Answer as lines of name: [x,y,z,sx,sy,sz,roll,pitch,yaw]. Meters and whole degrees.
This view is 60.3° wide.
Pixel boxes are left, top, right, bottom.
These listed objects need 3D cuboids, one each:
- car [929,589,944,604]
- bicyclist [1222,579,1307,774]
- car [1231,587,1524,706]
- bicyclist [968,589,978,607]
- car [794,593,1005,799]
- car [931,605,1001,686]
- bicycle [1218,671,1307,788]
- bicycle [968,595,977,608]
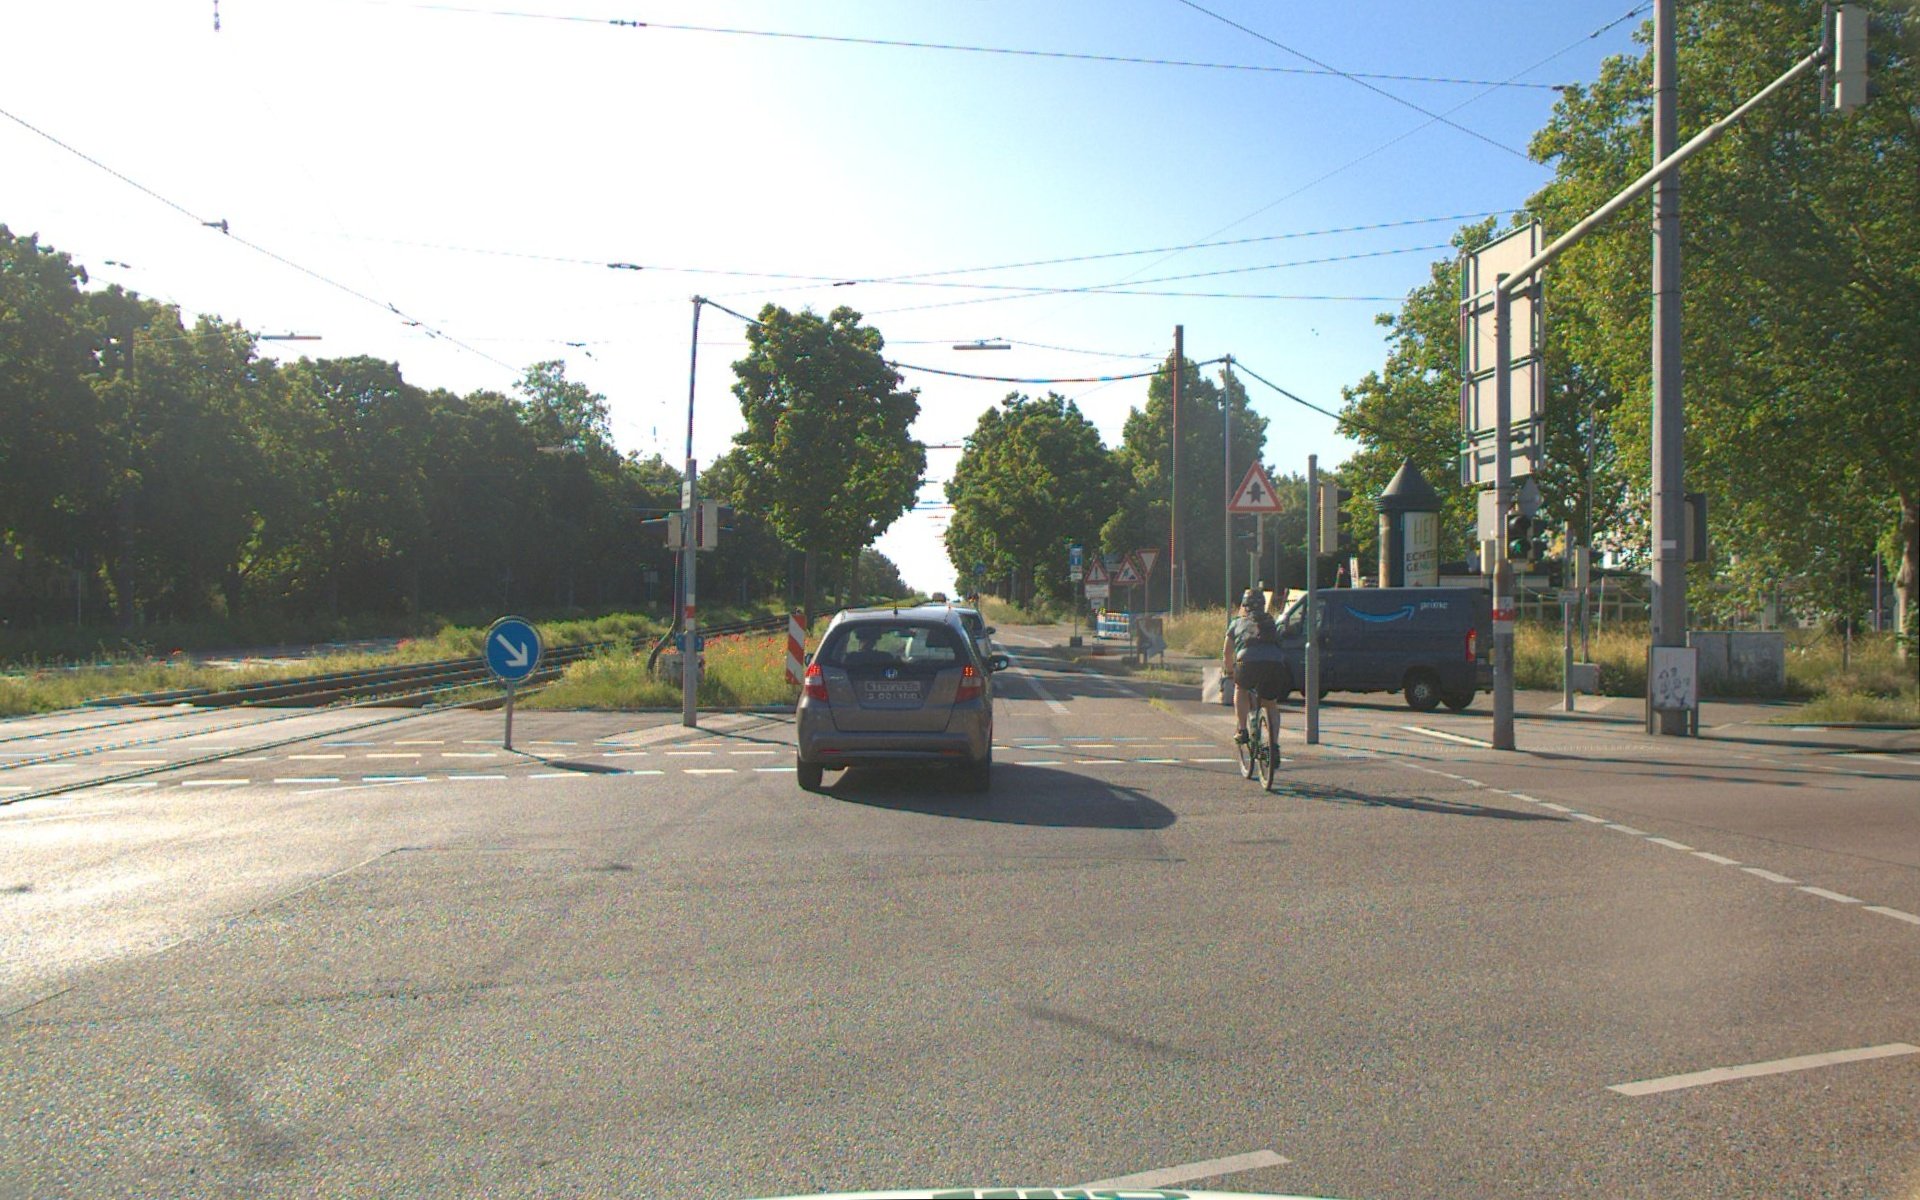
car: [-3.260,-0.455,232.291,1.952,2.049,4.000,0,-1,1]
bicyclist: [2.741,0.678,14.960,0.602,1.709,0.933,0,-1,1]
car: [7.913,0.833,31.494,5.011,2.106,2.125,0,-1,33]
bicyclist: [1.109,-0.183,143.226,0.801,1.551,0.966,1,-2,1]
car: [-0.434,0.756,15.028,1.636,1.541,3.674,2,1,1]
car: [0.142,0.887,33.003,1.323,1.554,3.123,0,-1,1]
bicycle: [2.753,1.150,15.191,0.513,0.939,2.089,0,-1,2]
bicycle: [1.092,0.164,143.198,0.801,1.066,2.506,1,-2,1]
